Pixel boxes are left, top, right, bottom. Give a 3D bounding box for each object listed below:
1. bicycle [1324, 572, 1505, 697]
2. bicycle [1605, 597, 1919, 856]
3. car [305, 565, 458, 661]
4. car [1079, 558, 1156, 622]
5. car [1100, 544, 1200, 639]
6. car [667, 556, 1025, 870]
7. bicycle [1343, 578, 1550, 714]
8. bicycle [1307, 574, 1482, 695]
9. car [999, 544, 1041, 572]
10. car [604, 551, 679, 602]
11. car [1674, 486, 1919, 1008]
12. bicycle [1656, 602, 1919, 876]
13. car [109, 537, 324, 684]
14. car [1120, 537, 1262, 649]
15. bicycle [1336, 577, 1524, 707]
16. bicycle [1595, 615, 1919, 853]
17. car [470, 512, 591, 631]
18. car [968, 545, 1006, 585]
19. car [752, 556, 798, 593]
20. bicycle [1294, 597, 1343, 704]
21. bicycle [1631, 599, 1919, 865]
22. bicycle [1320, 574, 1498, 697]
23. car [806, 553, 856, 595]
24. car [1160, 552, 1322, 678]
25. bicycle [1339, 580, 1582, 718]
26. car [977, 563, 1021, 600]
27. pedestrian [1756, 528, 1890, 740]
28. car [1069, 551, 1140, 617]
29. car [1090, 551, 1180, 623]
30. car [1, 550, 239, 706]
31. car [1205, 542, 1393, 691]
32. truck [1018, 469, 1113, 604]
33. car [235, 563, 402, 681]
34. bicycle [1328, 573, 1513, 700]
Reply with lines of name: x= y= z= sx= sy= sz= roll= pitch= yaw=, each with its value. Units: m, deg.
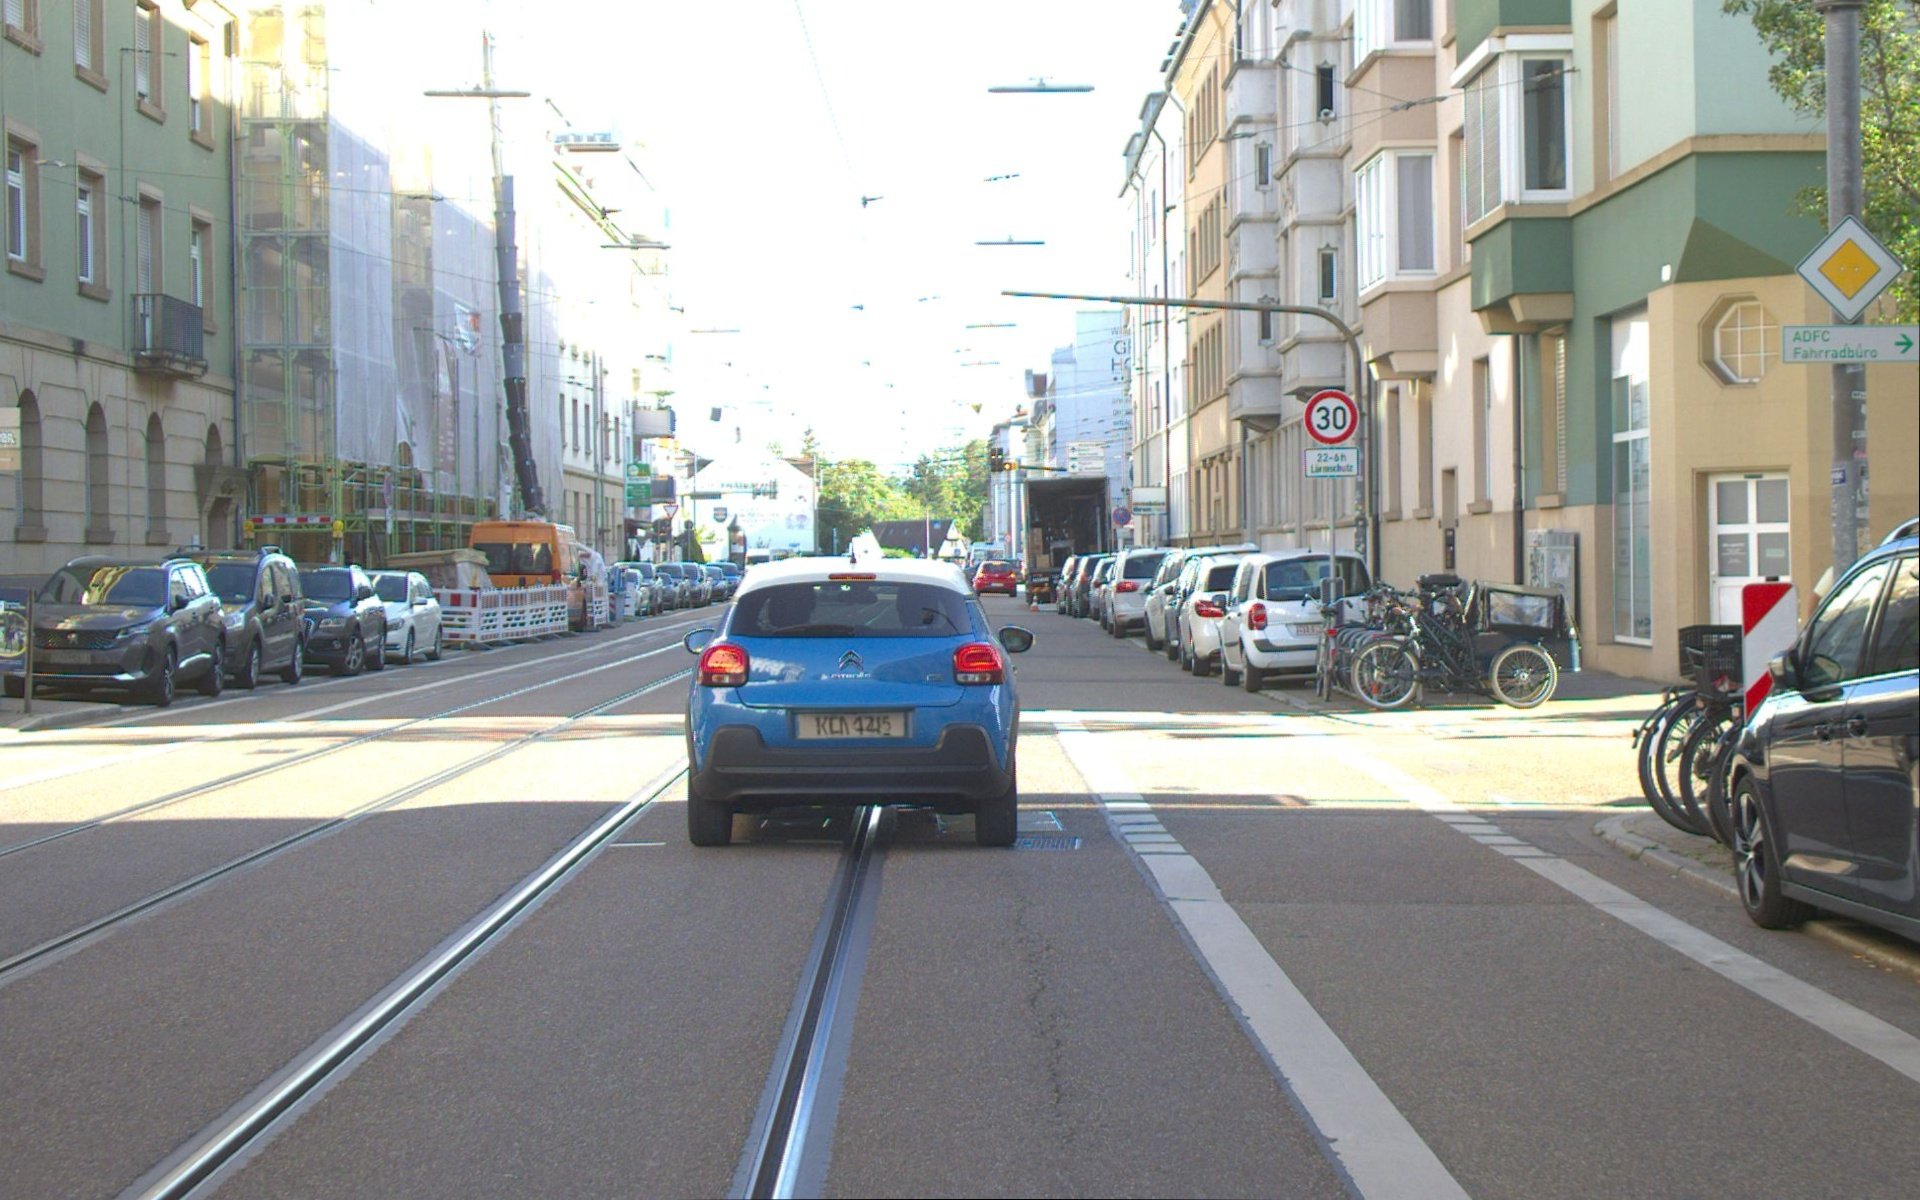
bicycle: x=4.664 y=0.353 z=35.292 sx=1.722 sy=1.150 sz=0.469 roll=-4 pitch=1 yaw=1
bicycle: x=4.296 y=0.621 z=17.306 sx=1.959 sy=1.223 sz=0.527 roll=-2 pitch=1 yaw=0
car: x=-9.693 y=0.183 z=57.879 sx=1.718 sy=1.497 sz=4.387 roll=1 pitch=1 yaw=1
car: x=3.840 y=-0.266 z=84.332 sx=1.664 sy=1.514 sz=4.222 roll=-1 pitch=1 yaw=0
car: x=3.790 y=-0.188 z=69.059 sx=1.730 sy=1.821 sz=4.686 roll=-1 pitch=1 yaw=0
car: x=-0.560 y=0.530 z=18.909 sx=1.735 sy=1.502 sz=3.992 roll=1 pitch=1 yaw=0
bicycle: x=4.638 y=0.436 z=32.828 sx=1.843 sy=1.150 sz=0.469 roll=-4 pitch=1 yaw=1
bicycle: x=4.614 y=0.365 z=36.541 sx=1.722 sy=1.150 sz=0.469 roll=-4 pitch=1 yaw=1
car: x=3.282 y=-2.292 z=188.760 sx=2.180 sy=1.481 sz=4.160 roll=-1 pitch=1 yaw=0
car: x=-10.693 y=-0.814 z=115.673 sx=2.144 sy=1.616 sz=4.000 roll=-1 pitch=1 yaw=-1
car: x=4.010 y=0.417 z=12.602 sx=1.753 sy=1.730 sz=4.507 roll=-4 pitch=1 yaw=0
bicycle: x=4.326 y=0.631 z=16.173 sx=1.959 sy=1.223 sz=0.527 roll=-2 pitch=1 yaw=0
car: x=-9.784 y=0.105 z=45.572 sx=1.783 sy=1.810 sz=4.528 roll=1 pitch=1 yaw=1
car: x=3.761 y=-0.141 z=56.668 sx=1.654 sy=1.746 sz=4.604 roll=-1 pitch=1 yaw=-4
bicycle: x=4.649 y=0.413 z=34.065 sx=1.722 sy=1.150 sz=0.469 roll=-4 pitch=1 yaw=1
bicycle: x=4.332 y=0.683 z=17.886 sx=1.923 sy=1.157 sz=0.527 roll=-2 pitch=1 yaw=0
car: x=-9.334 y=-0.636 z=75.011 sx=2.144 sy=2.467 sz=4.981 roll=-1 pitch=1 yaw=-2
car: x=1.593 y=-2.081 z=203.290 sx=2.220 sy=2.276 sz=4.084 roll=-1 pitch=1 yaw=0
car: x=-8.458 y=-1.189 z=157.414 sx=1.826 sy=1.626 sz=4.045 roll=-1 pitch=1 yaw=0
bicycle: x=3.651 y=0.501 z=35.099 sx=0.353 sy=1.041 sz=1.728 roll=-1 pitch=1 yaw=1
bicycle: x=4.317 y=0.626 z=16.745 sx=1.959 sy=1.223 sz=0.527 roll=-2 pitch=1 yaw=0
bicycle: x=4.681 y=0.364 z=35.914 sx=1.722 sy=1.150 sz=0.469 roll=-4 pitch=1 yaw=1
car: x=-5.189 y=-1.062 z=138.806 sx=1.826 sy=1.626 sz=4.490 roll=-1 pitch=1 yaw=0
car: x=3.698 y=0.167 z=45.836 sx=1.783 sy=1.570 sz=4.326 roll=-1 pitch=1 yaw=0
bicycle: x=4.663 y=0.450 z=32.128 sx=2.086 sy=1.150 sz=0.848 roll=-3 pitch=1 yaw=1
car: x=1.630 y=-0.799 z=144.198 sx=1.765 sy=1.481 sz=4.031 roll=-1 pitch=1 yaw=0
pedestrian: x=6.761 y=0.266 z=26.946 sx=0.729 sy=1.627 sz=0.703 roll=2 pitch=-1 yaw=-15
car: x=3.722 y=-0.422 z=89.176 sx=1.664 sy=1.641 sz=4.222 roll=-1 pitch=1 yaw=0
car: x=3.779 y=-0.297 z=74.788 sx=1.722 sy=1.481 sz=4.222 roll=-1 pitch=1 yaw=0
car: x=-9.744 y=0.273 z=40.214 sx=1.783 sy=1.684 sz=4.668 roll=1 pitch=1 yaw=-2
car: x=3.891 y=0.161 z=40.039 sx=1.783 sy=1.626 sz=4.000 roll=-1 pitch=1 yaw=0
truck: x=3.329 y=-2.017 z=110.886 sx=2.853 sy=4.069 sz=11.271 roll=-1 pitch=1 yaw=1
car: x=-9.579 y=0.292 z=51.605 sx=1.783 sy=1.621 sz=4.609 roll=1 pitch=1 yaw=-2
bicycle: x=4.627 y=0.365 z=34.613 sx=1.722 sy=1.150 sz=0.469 roll=-4 pitch=1 yaw=1
